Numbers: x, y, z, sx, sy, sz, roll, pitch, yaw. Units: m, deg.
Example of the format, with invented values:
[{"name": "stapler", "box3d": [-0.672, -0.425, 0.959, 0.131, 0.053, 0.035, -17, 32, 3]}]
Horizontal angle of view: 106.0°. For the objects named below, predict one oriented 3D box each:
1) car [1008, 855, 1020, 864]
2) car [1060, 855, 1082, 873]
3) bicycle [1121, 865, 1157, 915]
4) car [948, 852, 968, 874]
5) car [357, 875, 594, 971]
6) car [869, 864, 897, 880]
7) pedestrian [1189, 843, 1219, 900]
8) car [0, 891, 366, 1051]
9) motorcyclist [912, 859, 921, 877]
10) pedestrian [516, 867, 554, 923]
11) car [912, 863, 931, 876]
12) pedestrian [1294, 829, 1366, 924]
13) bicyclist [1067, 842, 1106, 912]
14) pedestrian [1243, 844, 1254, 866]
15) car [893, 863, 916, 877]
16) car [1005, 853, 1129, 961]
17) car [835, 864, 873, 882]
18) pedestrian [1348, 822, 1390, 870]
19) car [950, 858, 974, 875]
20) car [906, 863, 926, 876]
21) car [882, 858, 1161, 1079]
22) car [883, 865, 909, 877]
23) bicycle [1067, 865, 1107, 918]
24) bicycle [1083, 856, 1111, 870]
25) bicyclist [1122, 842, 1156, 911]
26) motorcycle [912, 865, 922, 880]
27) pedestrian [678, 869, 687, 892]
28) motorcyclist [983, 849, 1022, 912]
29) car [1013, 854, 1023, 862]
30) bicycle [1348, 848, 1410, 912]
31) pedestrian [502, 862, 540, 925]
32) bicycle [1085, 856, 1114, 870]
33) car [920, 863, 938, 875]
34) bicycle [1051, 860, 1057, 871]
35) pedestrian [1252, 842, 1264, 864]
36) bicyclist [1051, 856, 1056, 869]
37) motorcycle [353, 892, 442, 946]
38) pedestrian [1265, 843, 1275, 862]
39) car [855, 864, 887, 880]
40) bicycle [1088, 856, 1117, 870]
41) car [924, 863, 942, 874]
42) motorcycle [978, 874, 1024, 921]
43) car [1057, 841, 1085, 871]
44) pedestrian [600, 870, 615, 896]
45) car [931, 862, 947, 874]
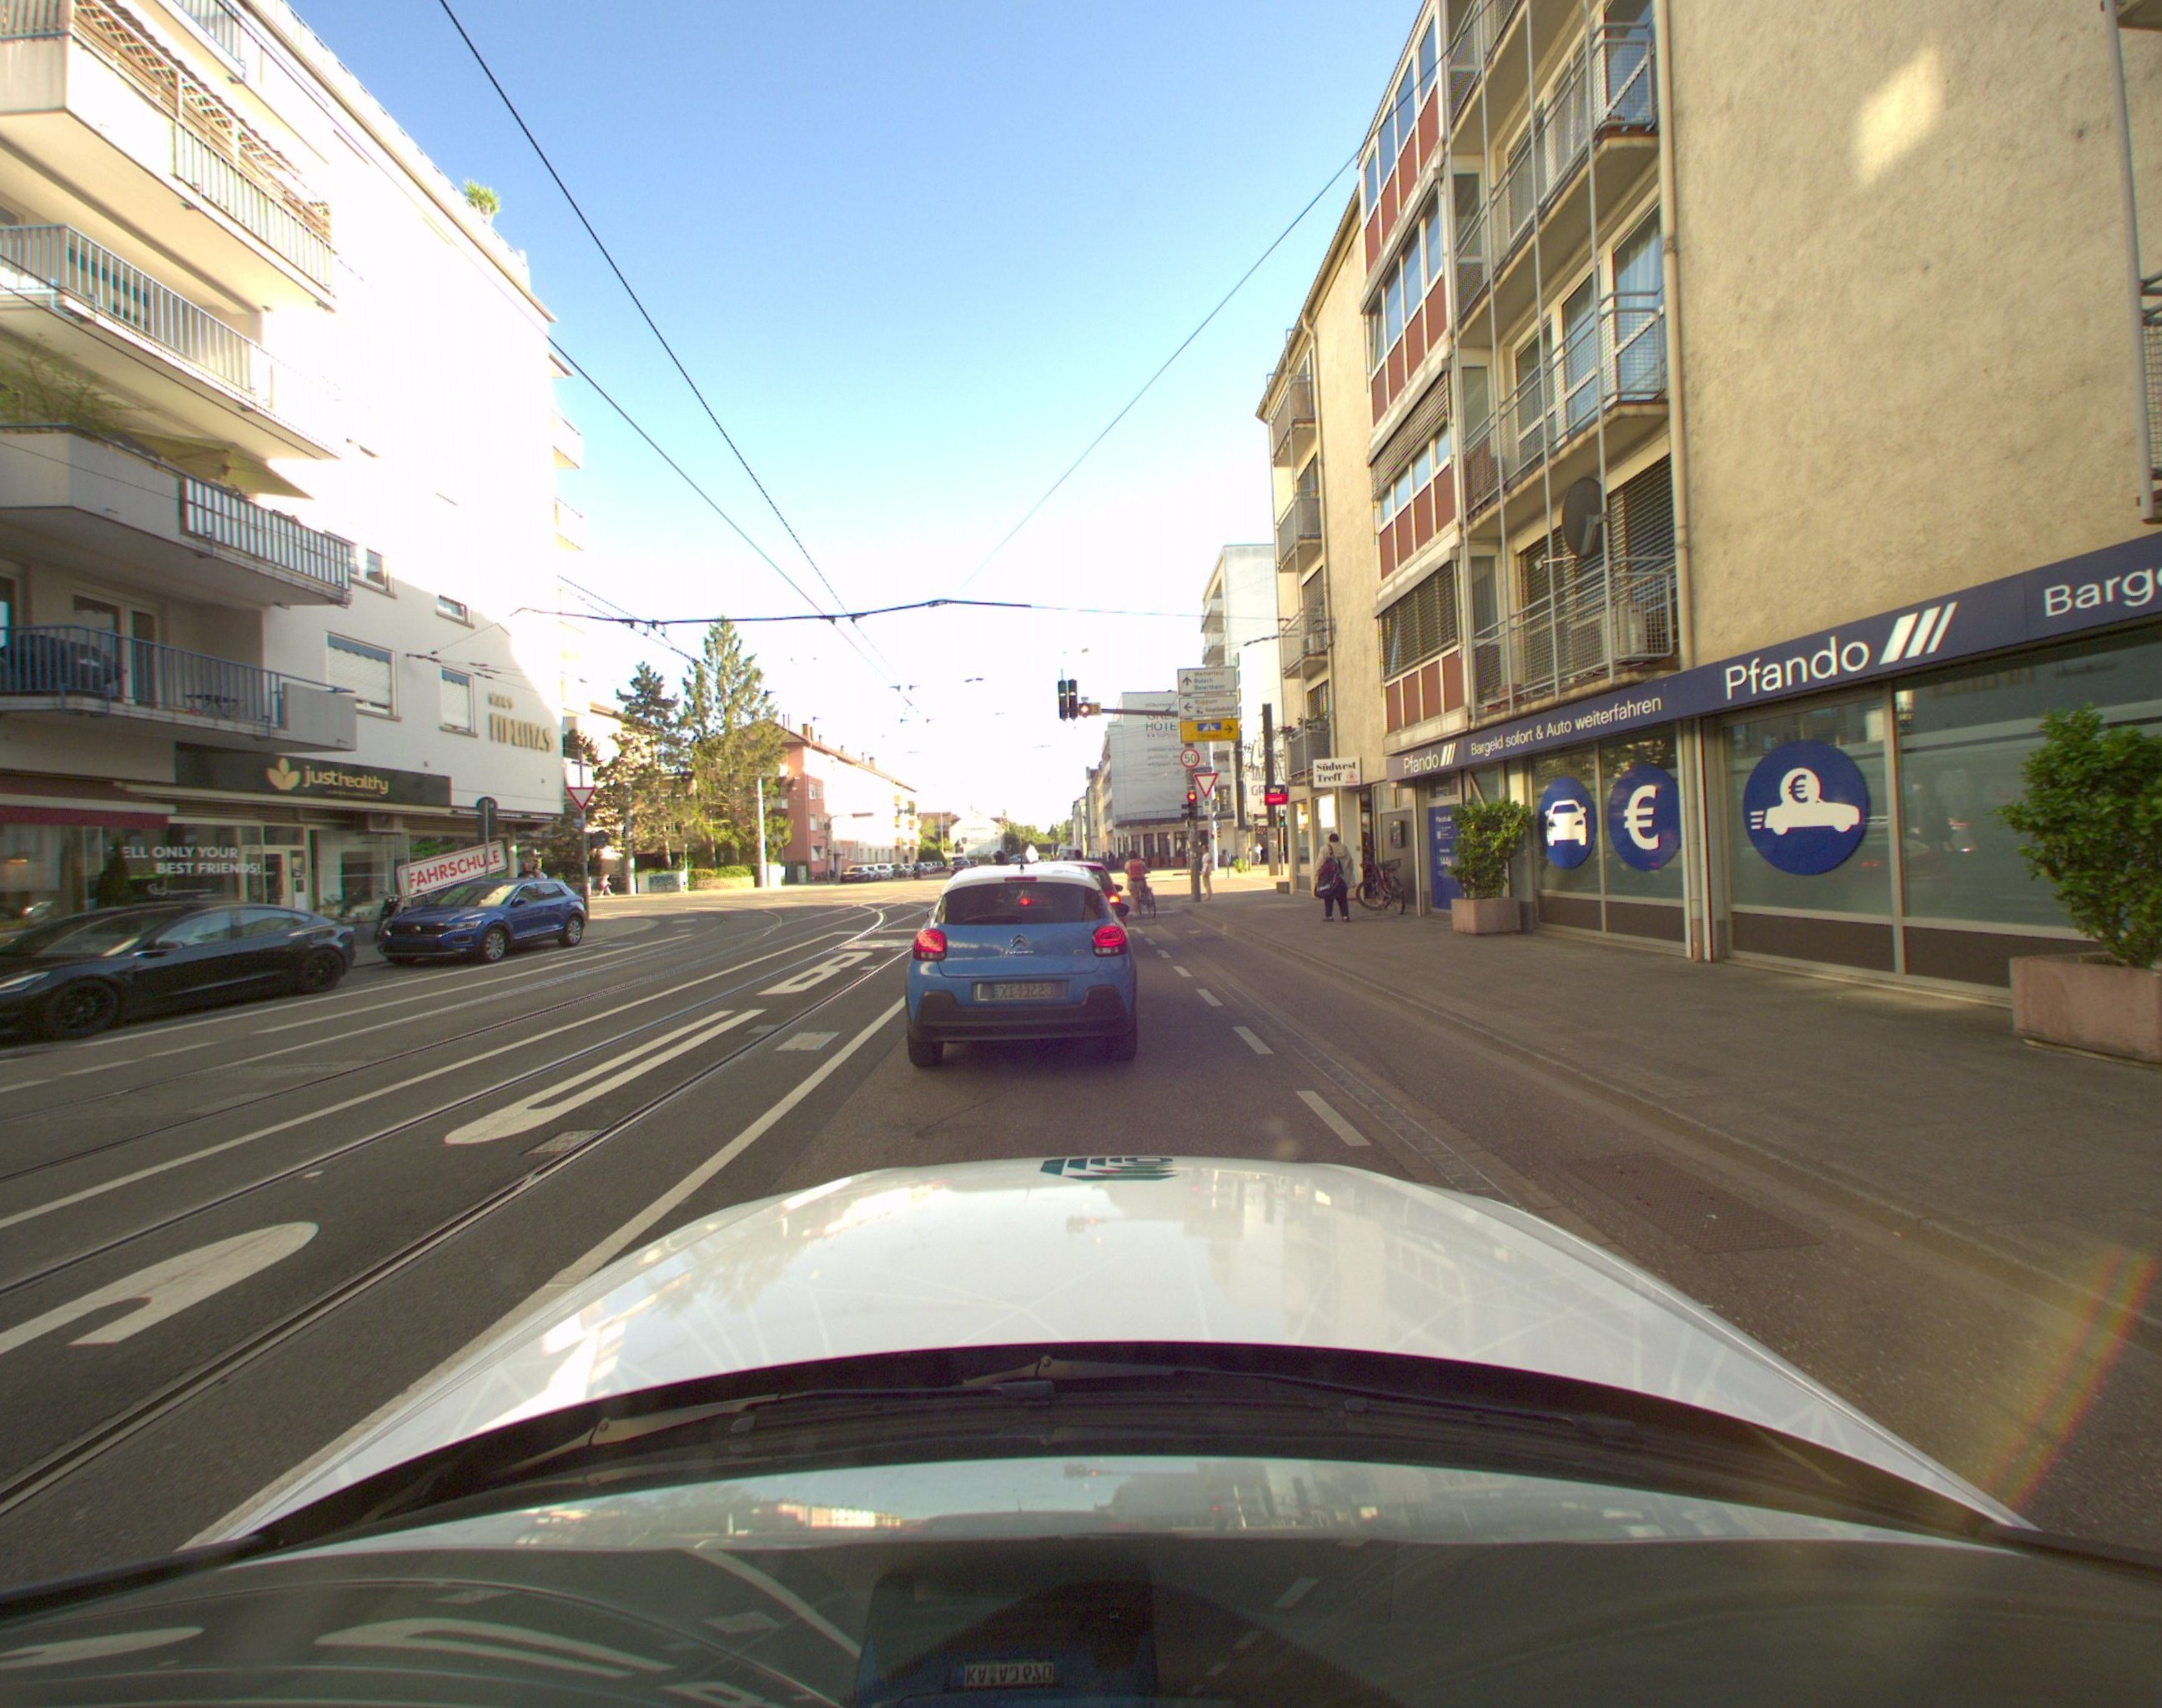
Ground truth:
[{"name": "car", "box3d": [-14.017, 1.195, 170.453, 2.212, 1.932, 4.946, 0, -1, -1]}, {"name": "car", "box3d": [-0.854, 0.842, 68.031, 1.654, 1.431, 3.882, 0, 0, -4]}, {"name": "bicycle", "box3d": [1.486, 0.883, 20.618, 0.807, 1.181, 2.068, 0, -1, 6]}, {"name": "car", "box3d": [-18.025, 1.261, 119.757, 2.411, 3.142, 3.487, 0, -1, -1]}, {"name": "car", "box3d": [-11.844, 1.255, 16.351, 1.765, 1.503, 4.233, 0, 1, -4]}, {"name": "car", "box3d": [-19.414, 1.751, 79.988, 1.737, 1.526, 4.227, 0, 0, -1]}, {"name": "pedestrian", "box3d": [3.668, 0.509, 24.203, 0.534, 1.623, 0.737, -7, -3, 23]}, {"name": "car", "box3d": [-11.998, 1.308, 10.433, 1.764, 1.475, 4.443, 0, 0, -1]}, {"name": "motorcyclist", "box3d": [-13.629, 1.153, 67.584, 0.694, 1.497, 0.681, -2, -2, -12]}, {"name": "pedestrian", "box3d": [-18.074, 1.356, 26.984, 0.732, 1.792, 0.663, -2, 0, 5]}, {"name": "car", "box3d": [-20.188, 1.909, 103.288, 1.865, 1.576, 3.995, 0, -1, -3]}, {"name": "pedestrian", "box3d": [4.464, 0.383, 14.669, 0.883, 1.592, 0.809, -5, 1, -7]}, {"name": "bicyclist", "box3d": [0.141, 0.557, 20.035, 0.937, 1.673, 1.079, 0, -1, 0]}, {"name": "pedestrian", "box3d": [12.288, 0.091, 59.886, 0.604, 1.608, 0.673, -1, -1, 29]}, {"name": "car", "box3d": [-20.063, 1.825, 92.735, 1.865, 1.576, 3.995, 0, -1, -3]}, {"name": "car", "box3d": [-0.293, 0.754, 13.624, 1.780, 1.521, 3.758, 0, 0, -3]}, {"name": "car", "box3d": [-19.372, 1.629, 69.687, 2.149, 1.432, 4.435, 0, -2, -3]}, {"name": "pedestrian", "box3d": [6.814, -0.183, 19.268, 0.627, 1.087, 0.672, -3, 1, -36]}, {"name": "car", "box3d": [-11.222, 1.136, 76.861, 1.775, 1.486, 3.824, -3, 0, -3]}, {"name": "car", "box3d": [-20.008, 1.872, 98.798, 1.865, 1.576, 3.995, 0, -1, -3]}, {"name": "car", "box3d": [-0.241, 0.785, 7.288, 1.727, 1.452, 3.670, -2, 0, 8]}, {"name": "car", "box3d": [-19.626, 1.766, 86.714, 1.942, 1.239, 4.279, 0, 0, -2]}, {"name": "bicycle", "box3d": [0.154, 0.895, 20.065, 0.937, 1.223, 2.094, 0, -1, 1]}, {"name": "bicycle", "box3d": [1.365, 0.756, 68.426, 2.246, 1.001, 0.855, -4, 0, -4]}, {"name": "bicyclist", "box3d": [1.468, 0.569, 20.476, 0.807, 1.692, 0.937, 0, -1, 6]}, {"name": "motorcycle", "box3d": [-13.595, 1.547, 67.471, 0.712, 1.220, 1.957, -2, -2, -12]}, {"name": "pedestrian", "box3d": [-27.484, 1.843, 56.183, 0.519, 1.568, 0.568, 0, -1, -26]}, {"name": "motorcyclist", "box3d": [-1.911, 0.641, 19.945, 0.852, 1.488, 0.729, 0, -1, 1]}, {"name": "car", "box3d": [-14.495, 0.975, 188.454, 2.068, 1.762, 5.034, 0, 0, -1]}, {"name": "bicycle", "box3d": [5.745, 0.487, 15.790, 0.495, 1.161, 1.776, -2, -1, -1]}, {"name": "pedestrian", "box3d": [-17.281, 1.213, 25.139, 0.568, 1.900, 0.742, -2, -3, 16]}, {"name": "bicycle", "box3d": [1.536, 0.738, 67.312, 2.246, 1.001, 0.855, -4, 0, -4]}, {"name": "car", "box3d": [-20.273, 1.953, 108.716, 1.865, 1.576, 3.995, 0, -1, -3]}, {"name": "bicycle", "box3d": [-4.546, 1.898, 135.634, 0.787, 1.670, 2.231, 0, -1, 3]}, {"name": "pedestrian", "box3d": [13.421, -0.070, 61.766, 0.604, 1.608, 0.673, -1, -1, 39]}, {"name": "bicyclist", "box3d": [-4.550, 1.432, 135.638, 0.787, 2.024, 0.987, 0, -1, 3]}, {"name": "motorcycle", "box3d": [-15.894, 1.488, 18.997, 0.605, 1.134, 1.795, 0, -1, -2]}, {"name": "pedestrian", "box3d": [14.852, -0.131, 63.865, 0.600, 1.444, 0.558, -1, -1, 35]}, {"name": "car", "box3d": [-19.354, 1.653, 75.245, 1.897, 1.436, 4.102, 0, 0, 0]}, {"name": "bicycle", "box3d": [1.765, 0.734, 65.938, 2.246, 1.001, 0.855, -4, 0, -4]}, {"name": "car", "box3d": [-20.610, 1.993, 113.476, 1.865, 1.576, 3.995, 0, -1, -3]}, {"name": "motorcycle", "box3d": [-1.911, 1.024, 19.722, 0.852, 1.047, 1.943, 0, -1, 2]}, {"name": "car", "box3d": [-0.969, 0.185, 73.033, 2.260, 2.482, 5.002, -1, 0, -3]}, {"name": "pedestrian", "box3d": [-32.070, 1.979, 55.147, 0.785, 1.722, 0.699, 0, -1, -22]}, {"name": "car", "box3d": [-20.782, 2.044, 119.670, 1.865, 1.576, 3.995, 0, -1, -3]}]
